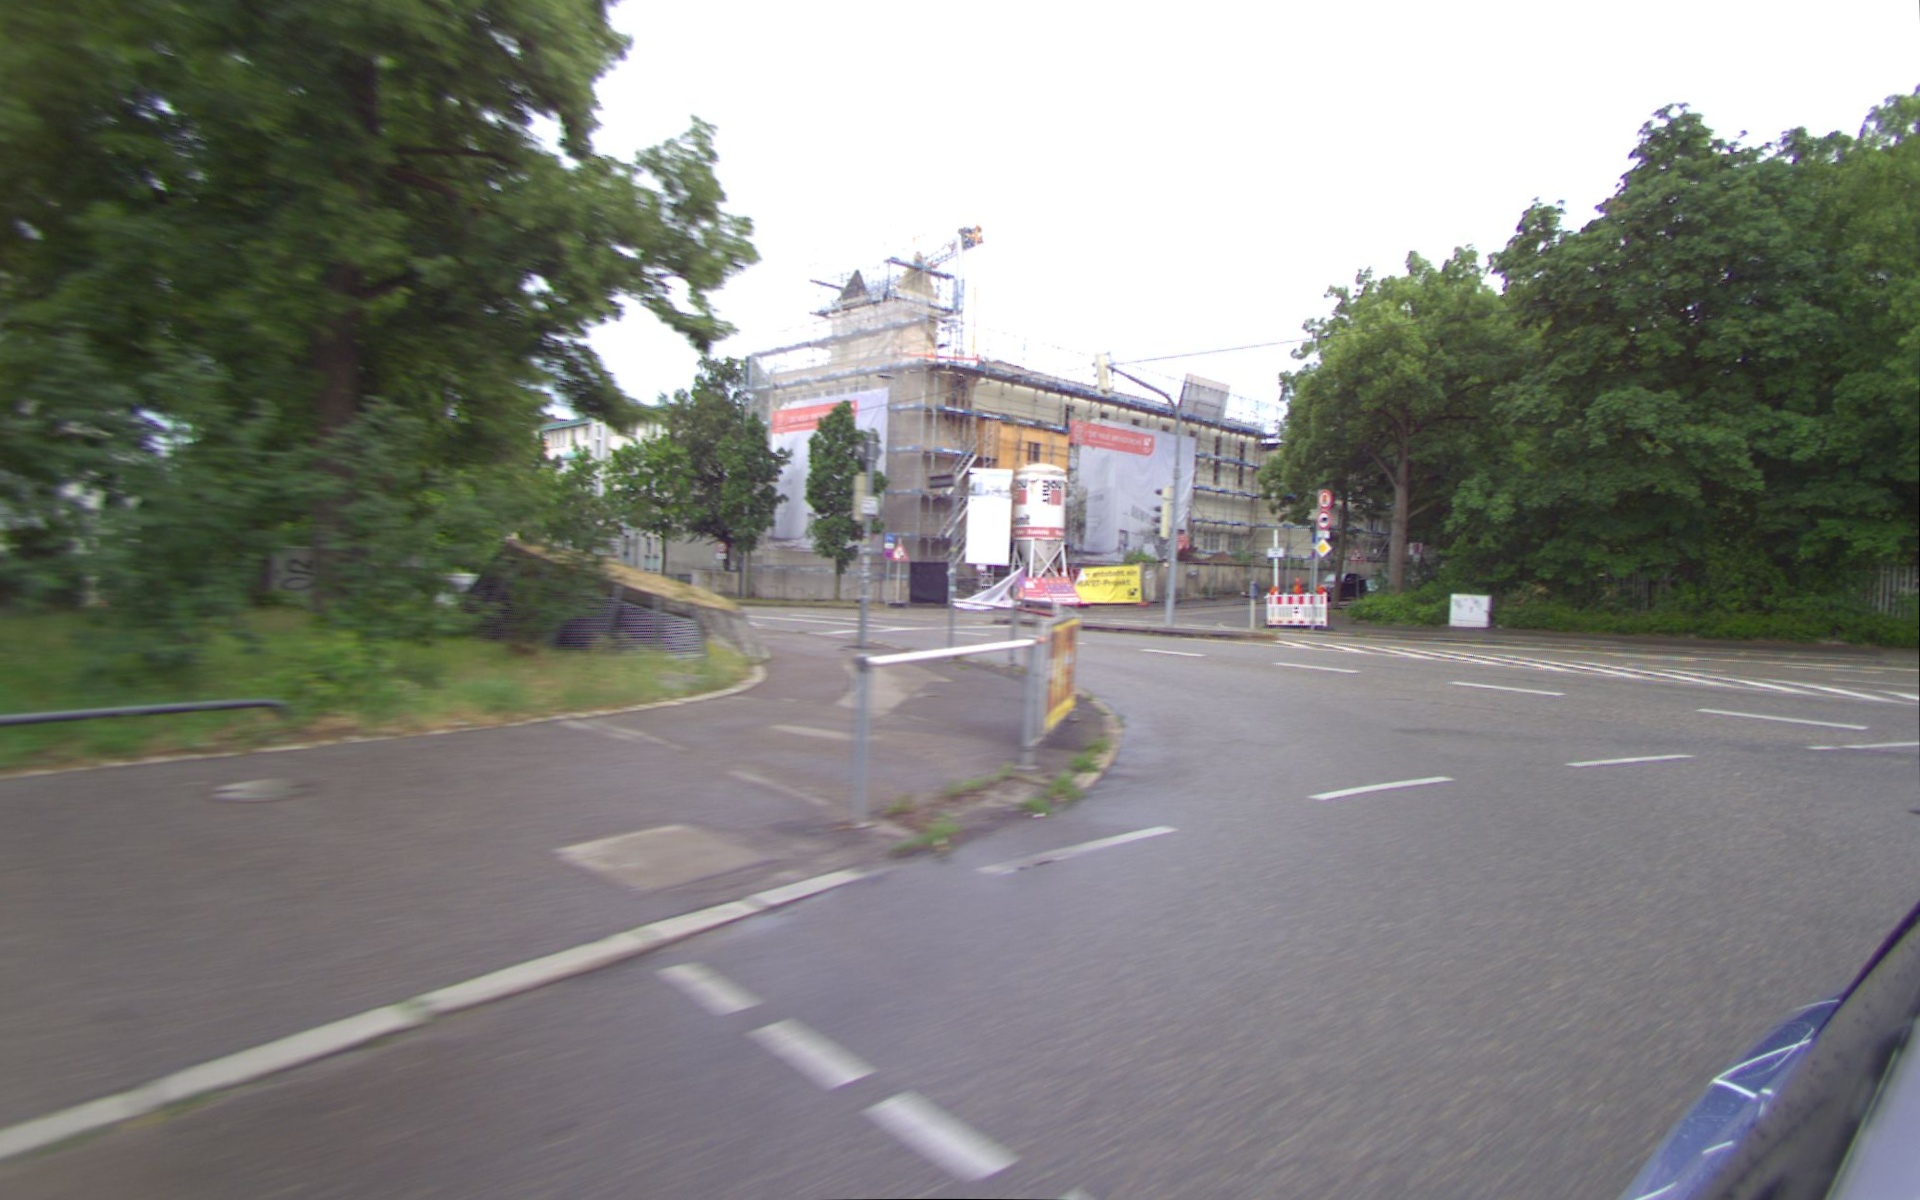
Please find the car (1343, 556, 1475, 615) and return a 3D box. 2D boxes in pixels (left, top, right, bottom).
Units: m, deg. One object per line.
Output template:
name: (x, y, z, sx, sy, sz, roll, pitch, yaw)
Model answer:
car: (16.515, -0.560, 37.383, 3.925, 2.038, 2.000, 2, 2, 1)
